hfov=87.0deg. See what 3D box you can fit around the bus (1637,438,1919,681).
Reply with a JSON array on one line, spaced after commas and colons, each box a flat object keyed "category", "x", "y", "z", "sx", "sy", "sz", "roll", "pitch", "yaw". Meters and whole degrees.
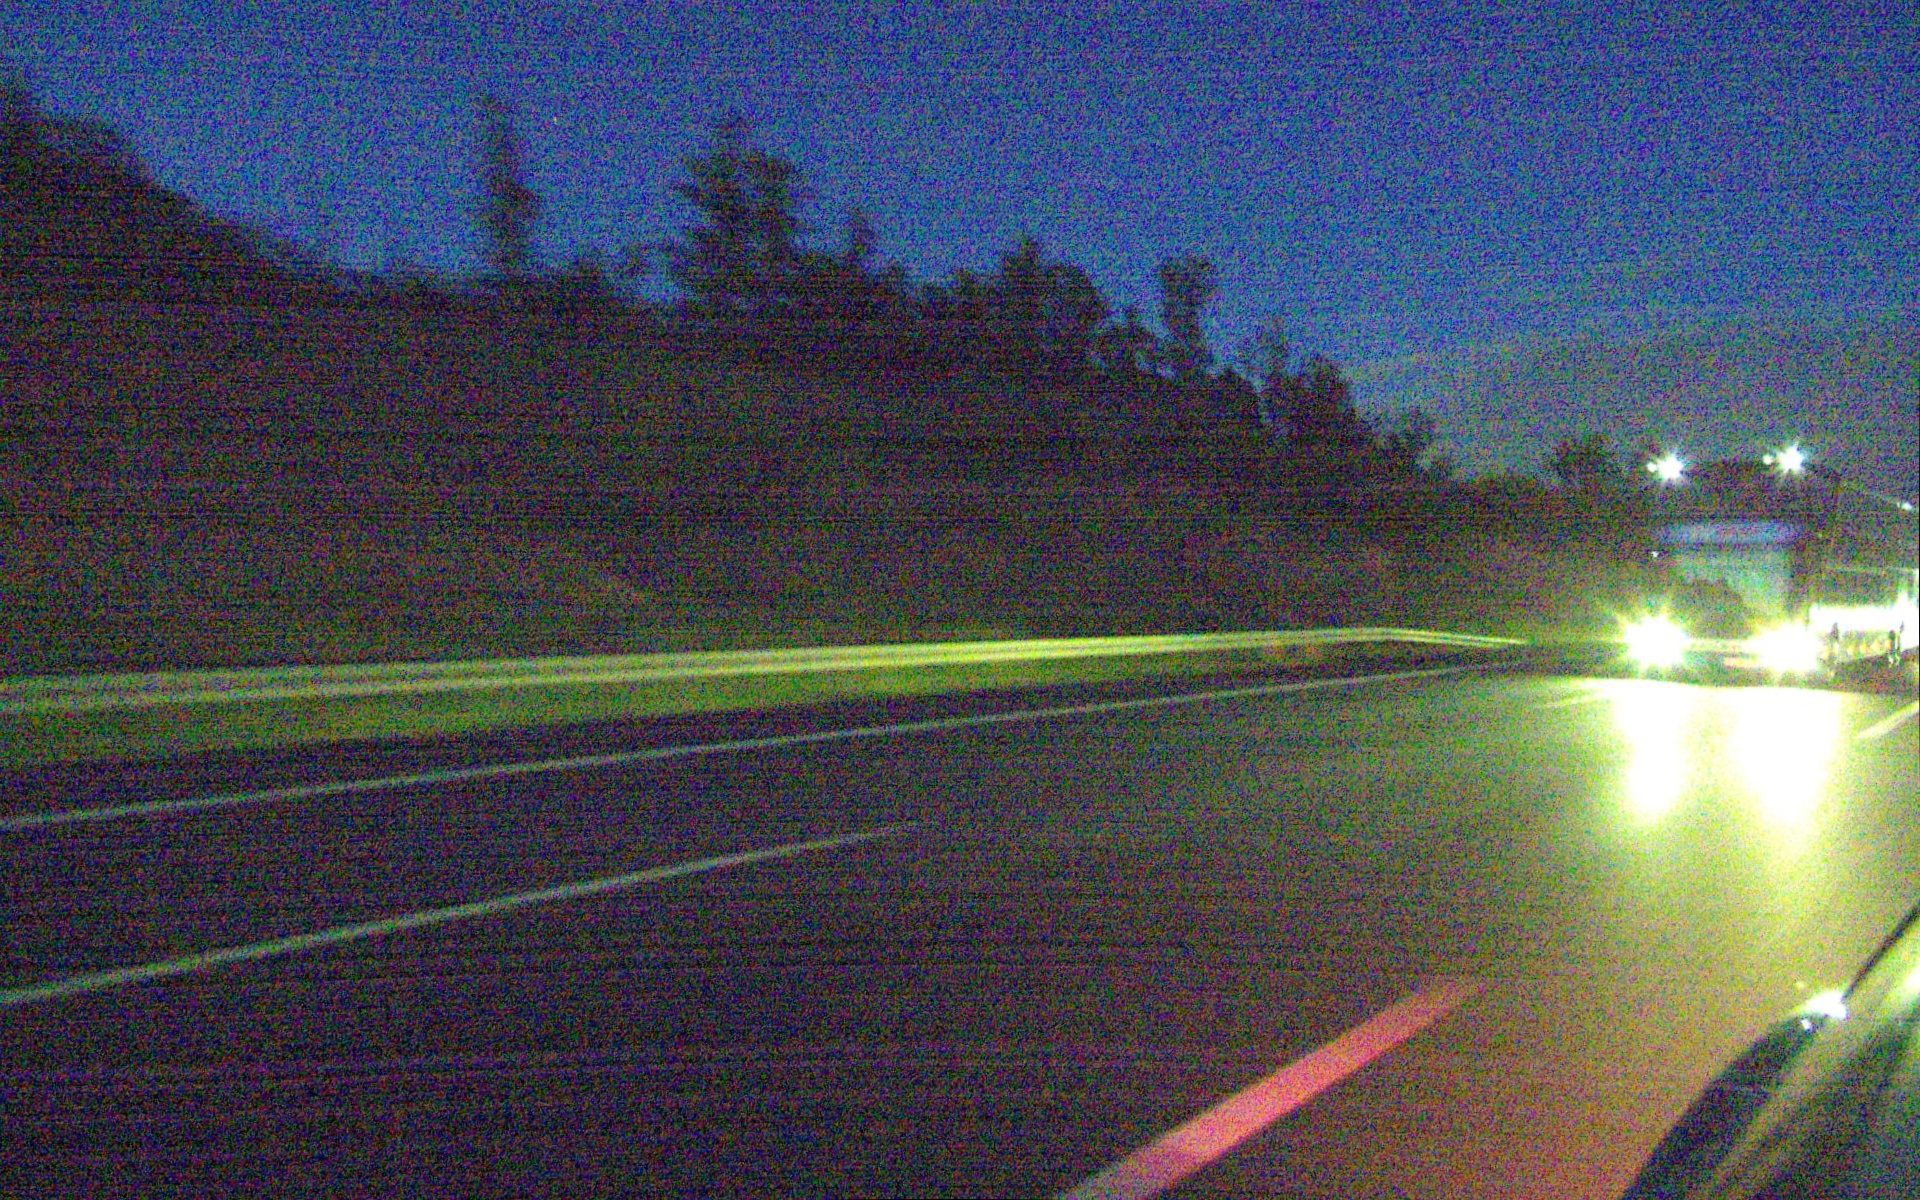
[{"category": "bus", "x": 19.067, "y": -0.742, "z": 22.490, "sx": 14.439, "sy": 4.044, "sz": 2.658, "roll": -1, "pitch": 0, "yaw": -40}]
